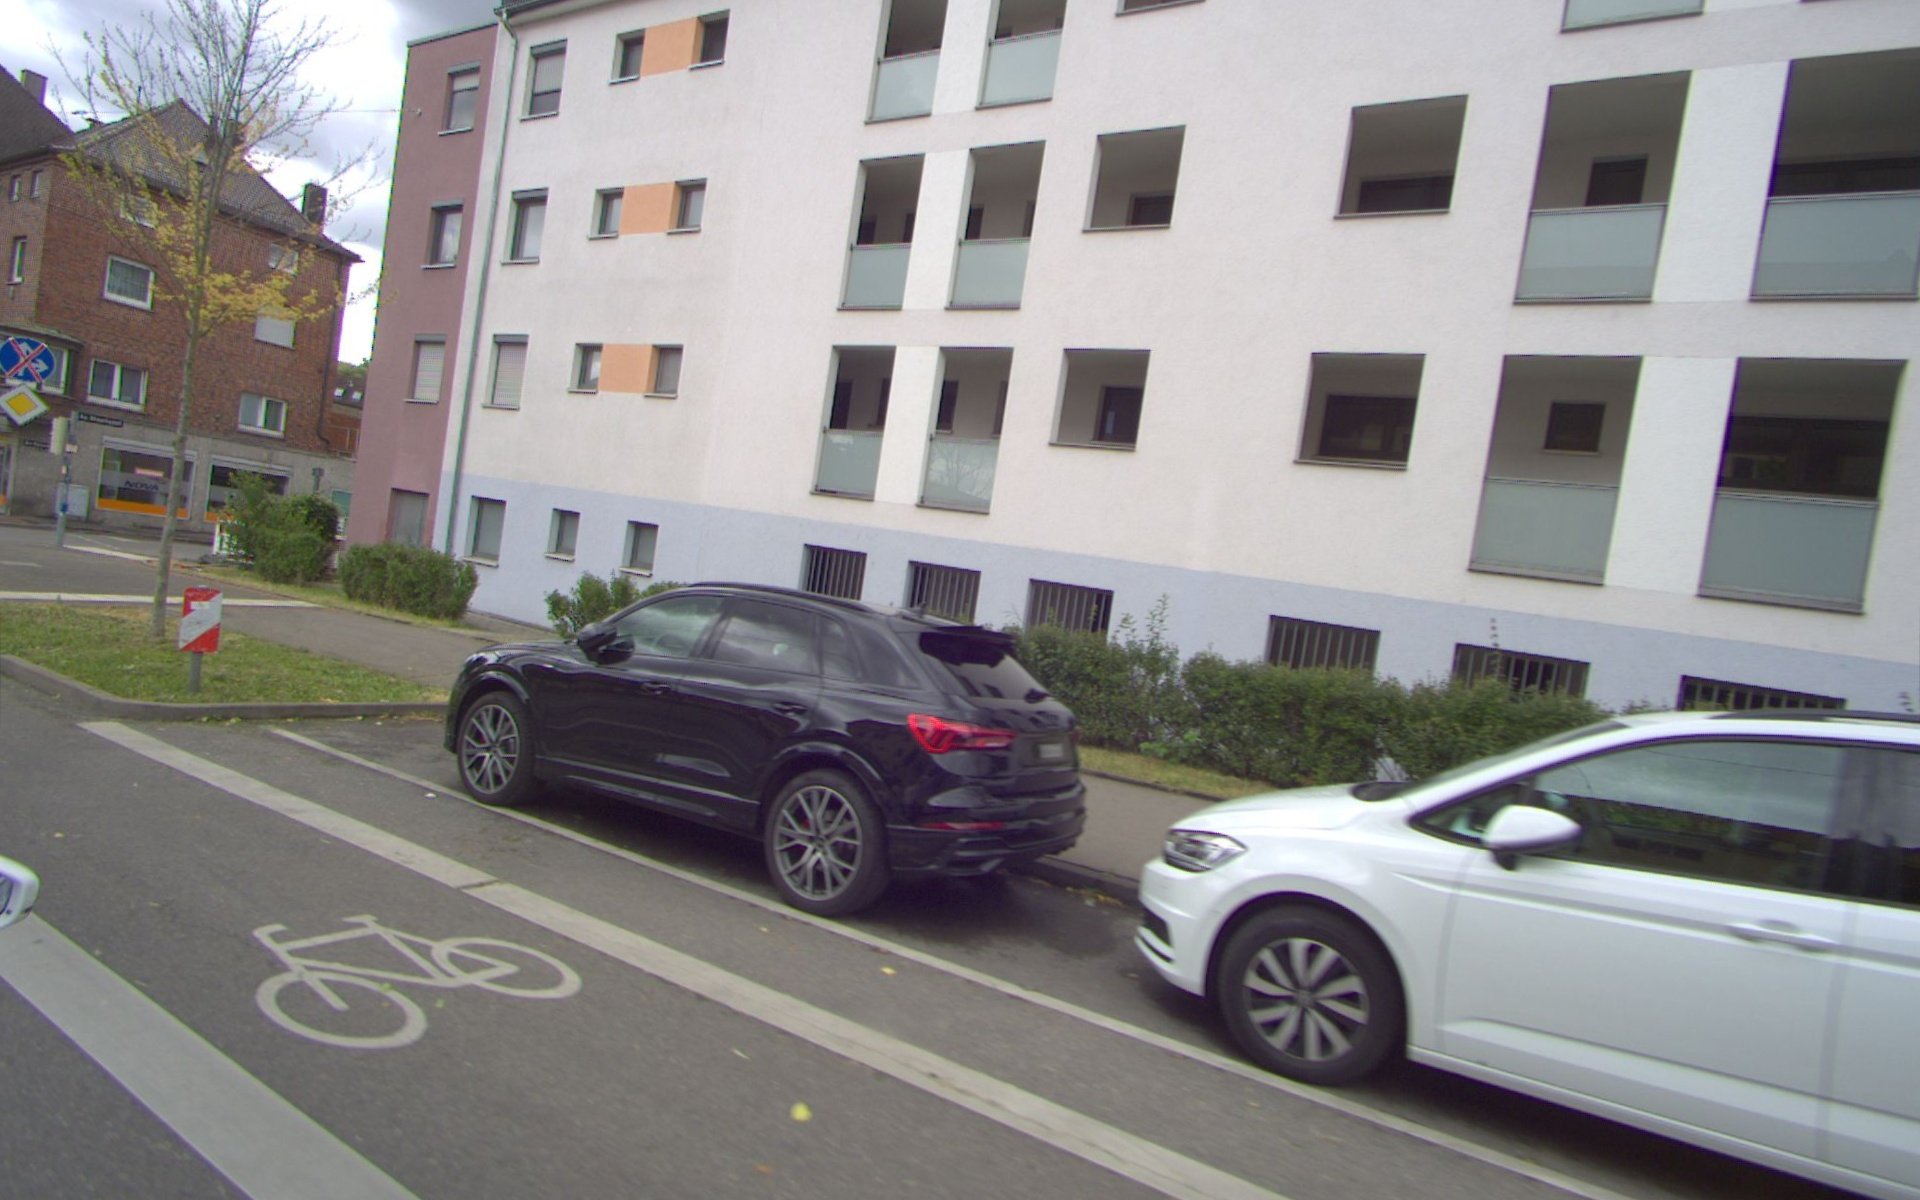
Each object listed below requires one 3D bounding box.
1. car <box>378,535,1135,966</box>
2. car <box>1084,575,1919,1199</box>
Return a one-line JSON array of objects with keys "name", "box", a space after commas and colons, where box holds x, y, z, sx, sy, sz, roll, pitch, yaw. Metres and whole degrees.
[{"name": "car", "box": [-1.416, 0.671, 6.313, 4.495, 1.606, 1.738, 7, -2, 30]}, {"name": "car", "box": [2.941, 1.091, 3.701, 4.474, 1.736, 1.662, 8, -1, 30]}]
